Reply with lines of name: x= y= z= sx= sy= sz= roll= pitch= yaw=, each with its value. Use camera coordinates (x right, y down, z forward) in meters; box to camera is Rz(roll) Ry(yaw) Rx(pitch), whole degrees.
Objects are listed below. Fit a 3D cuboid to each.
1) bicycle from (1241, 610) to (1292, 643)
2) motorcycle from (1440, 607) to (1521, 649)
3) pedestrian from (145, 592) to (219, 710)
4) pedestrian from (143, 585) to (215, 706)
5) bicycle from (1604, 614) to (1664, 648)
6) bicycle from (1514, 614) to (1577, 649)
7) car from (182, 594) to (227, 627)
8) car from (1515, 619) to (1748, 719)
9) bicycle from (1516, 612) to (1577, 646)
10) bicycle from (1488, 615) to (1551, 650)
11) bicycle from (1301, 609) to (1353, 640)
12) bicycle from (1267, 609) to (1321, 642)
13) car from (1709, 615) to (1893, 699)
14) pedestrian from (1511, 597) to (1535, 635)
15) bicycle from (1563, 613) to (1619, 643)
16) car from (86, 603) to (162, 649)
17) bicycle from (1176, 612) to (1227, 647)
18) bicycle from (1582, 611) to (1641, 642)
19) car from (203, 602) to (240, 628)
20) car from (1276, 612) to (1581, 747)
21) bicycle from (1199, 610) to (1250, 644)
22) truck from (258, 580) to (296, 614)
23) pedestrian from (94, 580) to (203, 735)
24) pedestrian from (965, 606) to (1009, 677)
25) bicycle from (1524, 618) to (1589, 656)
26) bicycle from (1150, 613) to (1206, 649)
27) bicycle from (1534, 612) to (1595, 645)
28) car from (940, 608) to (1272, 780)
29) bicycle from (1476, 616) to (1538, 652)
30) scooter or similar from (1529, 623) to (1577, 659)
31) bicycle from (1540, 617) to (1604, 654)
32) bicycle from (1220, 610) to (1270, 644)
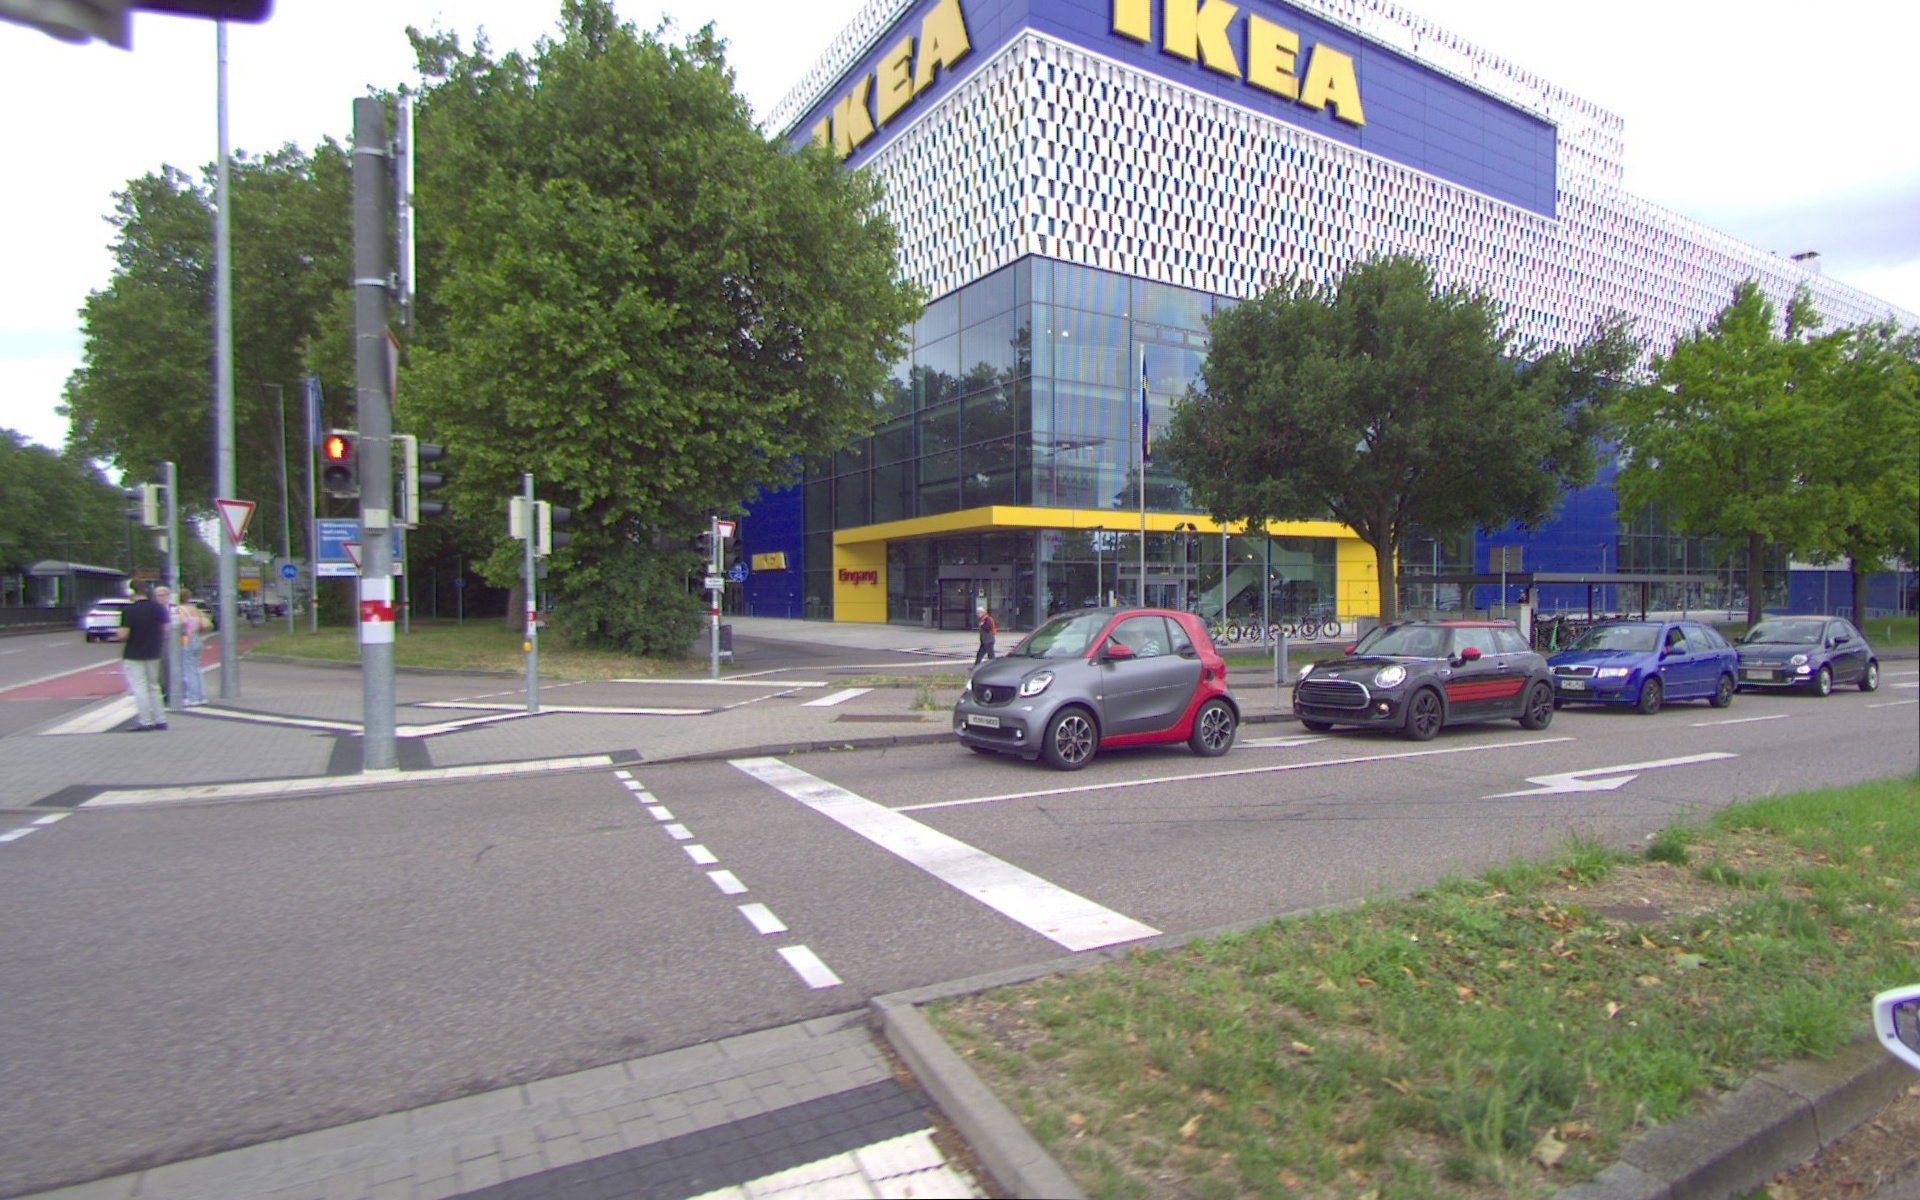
bicycle: x=12.059 y=1.041 z=39.609 sx=0.587 sy=1.172 sz=2.005 roll=0 pitch=2 yaw=-31
motorcycle: x=19.049 y=0.996 z=36.824 sx=0.794 sy=1.374 sz=2.469 roll=-1 pitch=3 yaw=-42
pedestrian: x=-11.713 y=0.749 z=15.149 sx=0.756 sy=1.734 sz=0.671 roll=0 pitch=1 yaw=-26
pedestrian: x=-12.145 y=0.694 z=15.623 sx=0.666 sy=1.821 sz=0.761 roll=2 pitch=0 yaw=44
bicycle: x=26.256 y=1.179 z=39.173 sx=0.584 sy=1.172 sz=2.015 roll=1 pitch=2 yaw=-15
bicycle: x=22.263 y=1.177 z=38.235 sx=0.586 sy=1.172 sz=2.006 roll=0 pitch=3 yaw=-29
car: x=-40.382 y=0.544 z=53.754 sx=1.781 sy=1.606 sz=4.100 roll=2 pitch=-1 yaw=-36
car: x=11.089 y=1.059 z=16.523 sx=4.096 sy=1.463 sz=1.595 roll=1 pitch=-2 yaw=-31
bicycle: x=22.925 y=1.131 z=39.286 sx=0.586 sy=1.172 sz=2.006 roll=0 pitch=3 yaw=-29
bicycle: x=21.075 y=1.211 z=37.881 sx=0.586 sy=1.172 sz=2.006 roll=0 pitch=3 yaw=-29
bicycle: x=15.145 y=0.996 z=41.534 sx=0.588 sy=1.172 sz=2.001 roll=0 pitch=3 yaw=-36
bicycle: x=13.409 y=1.010 z=40.362 sx=0.589 sy=1.172 sz=1.996 roll=-1 pitch=3 yaw=-42
car: x=16.845 y=1.073 z=20.082 sx=3.991 sy=1.517 sz=1.595 roll=0 pitch=-1 yaw=-31
pedestrian: x=26.729 y=0.770 z=47.680 sx=0.799 sy=1.769 sz=0.674 roll=-1 pitch=2 yaw=-30
bicycle: x=25.324 y=1.114 z=40.356 sx=0.586 sy=1.097 sz=1.801 roll=0 pitch=3 yaw=-29
car: x=-31.973 y=0.963 z=38.503 sx=1.875 sy=1.607 sz=4.366 roll=1 pitch=0 yaw=-35
bicycle: x=9.121 y=1.091 z=38.009 sx=0.587 sy=1.172 sz=2.005 roll=0 pitch=2 yaw=-31
bicycle: x=27.049 y=1.101 z=41.742 sx=0.586 sy=1.138 sz=2.007 roll=0 pitch=3 yaw=-27
car: x=-47.484 y=0.938 z=64.623 sx=1.616 sy=1.537 sz=3.393 roll=3 pitch=0 yaw=-32
car: x=6.158 y=0.945 z=13.111 sx=4.018 sy=1.522 sz=1.654 roll=1 pitch=-2 yaw=-31
bicycle: x=10.111 y=1.028 z=38.475 sx=0.587 sy=1.172 sz=2.005 roll=0 pitch=2 yaw=-31
truck: x=-80.137 y=-0.346 z=118.011 sx=3.226 sy=3.712 sz=9.811 roll=2 pitch=-1 yaw=-32
pedestrian: x=-9.702 y=0.692 z=12.038 sx=0.675 sy=1.787 sz=0.663 roll=3 pitch=-3 yaw=-11
pedestrian: x=0.654 y=1.003 z=24.324 sx=0.801 sy=1.664 sz=0.629 roll=2 pitch=0 yaw=-33
bicycle: x=21.062 y=1.298 z=35.515 sx=0.586 sy=1.172 sz=1.885 roll=0 pitch=3 yaw=-29
bicycle: x=8.033 y=1.127 z=37.139 sx=1.994 sy=1.172 sz=0.590 roll=3 pitch=3 yaw=44
bicycle: x=24.022 y=1.127 z=39.959 sx=0.586 sy=1.172 sz=2.006 roll=0 pitch=3 yaw=-29
car: x=1.549 y=0.854 z=10.485 sx=3.173 sy=1.523 sz=1.594 roll=0 pitch=-1 yaw=-32
bicycle: x=20.439 y=1.252 z=37.584 sx=0.586 sy=1.172 sz=2.006 roll=0 pitch=3 yaw=-29
scooter or similar: x=19.974 y=1.378 z=33.848 sx=1.322 sy=1.164 sz=0.424 roll=1 pitch=2 yaw=1
bicycle: x=21.965 y=1.259 z=36.088 sx=0.586 sy=1.172 sz=1.885 roll=0 pitch=3 yaw=-29
bicycle: x=11.054 y=1.041 z=39.026 sx=0.587 sy=1.172 sz=2.005 roll=0 pitch=2 yaw=-31
